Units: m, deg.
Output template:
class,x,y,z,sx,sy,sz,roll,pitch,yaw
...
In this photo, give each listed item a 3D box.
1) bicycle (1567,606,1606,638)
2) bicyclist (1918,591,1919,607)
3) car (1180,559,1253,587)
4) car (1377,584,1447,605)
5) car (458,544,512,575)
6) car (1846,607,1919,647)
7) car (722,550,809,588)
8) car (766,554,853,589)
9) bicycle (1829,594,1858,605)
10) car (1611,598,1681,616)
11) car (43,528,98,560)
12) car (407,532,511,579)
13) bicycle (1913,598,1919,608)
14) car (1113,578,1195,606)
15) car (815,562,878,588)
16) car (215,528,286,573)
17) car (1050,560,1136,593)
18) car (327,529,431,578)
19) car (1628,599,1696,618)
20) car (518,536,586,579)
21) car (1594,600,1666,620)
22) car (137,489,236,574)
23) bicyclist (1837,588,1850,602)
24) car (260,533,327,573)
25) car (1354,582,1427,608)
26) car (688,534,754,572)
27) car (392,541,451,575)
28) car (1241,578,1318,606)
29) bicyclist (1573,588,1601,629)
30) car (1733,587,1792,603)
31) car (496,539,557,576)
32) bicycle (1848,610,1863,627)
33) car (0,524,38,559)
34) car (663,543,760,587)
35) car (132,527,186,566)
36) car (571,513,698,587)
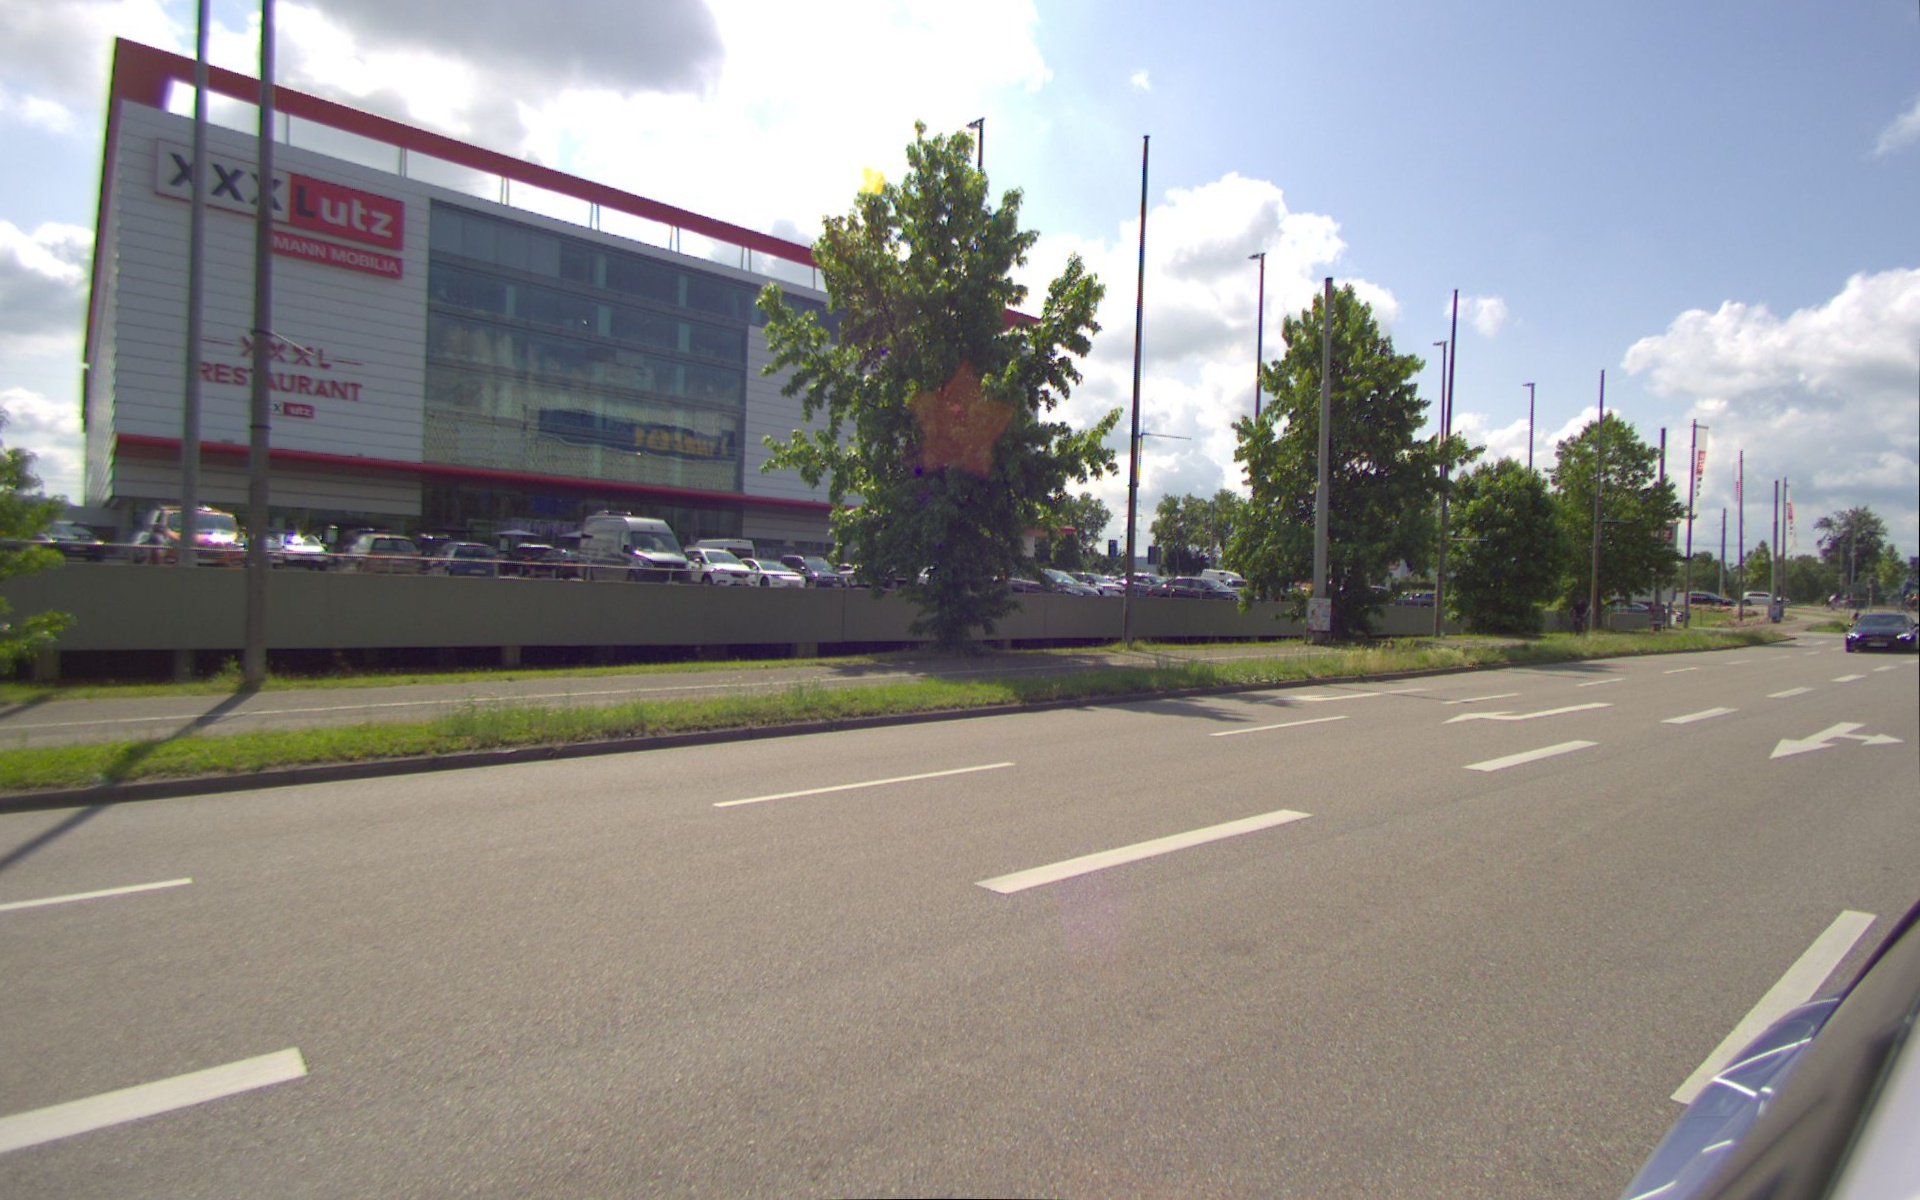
class,x,y,z,sx,sy,sz,roll,pitch,yaw
bicycle,22.200,0.775,35.835,1.934,1.081,0.624,1,1,-42
bicyclist,87.432,-0.069,91.694,0.728,1.494,0.652,0,0,-5
car,29.777,-3.136,117.719,3.066,3.193,7.899,0,2,-39
car,33.637,-0.424,75.375,1.814,1.379,4.368,0,2,-40
car,-23.511,-1.967,50.079,1.525,1.387,3.443,1,0,-41
car,33.016,0.921,35.878,4.088,1.335,1.796,0,0,-40
car,-8.336,-1.349,43.202,1.696,1.452,4.190,1,2,-42
car,-6.824,-1.232,45.684,1.860,1.452,4.188,1,-1,-42
bicycle,81.624,-0.002,93.533,1.958,0.973,0.594,1,0,15
car,55.104,0.529,81.294,1.825,1.434,4.365,0,0,-41
car,-38.181,-2.374,43.493,1.665,1.199,3.904,1,0,-40
car,-17.728,-1.506,35.717,1.954,1.502,4.872,0,1,-43
bicycle,87.412,0.280,91.687,1.662,0.973,0.666,1,0,-4
car,10.408,-0.462,54.584,1.659,1.341,4.191,1,2,-42
car,-6.639,-1.435,58.685,1.601,1.438,3.992,1,0,-42
car,-27.253,-1.853,38.844,1.608,1.595,3.899,1,0,-44
car,6.742,-1.175,51.501,1.967,1.590,3.990,0,1,-44
car,-19.503,-1.495,33.877,1.954,1.472,4.872,0,1,-43
car,58.979,0.682,85.077,1.765,1.458,4.366,0,1,-41
car,-19.063,-1.921,47.213,1.744,1.861,3.890,1,0,-41
car,51.747,0.766,78.239,1.824,1.495,4.367,0,0,-40
car,-23.151,-1.935,30.206,1.953,2.223,5.167,0,0,-42
bicyclist,81.658,-0.451,93.533,0.677,1.342,0.590,1,-1,14
car,-29.582,-2.038,44.866,1.965,1.563,3.994,1,0,-41
car,28.417,-0.346,66.822,4.056,1.550,1.714,4,3,45
car,-13.682,-2.663,57.827,1.965,1.976,3.993,1,0,-42
car,-25.632,-1.973,48.118,1.606,1.461,3.903,1,0,-41
car,19.687,-0.515,62.465,1.735,1.572,4.188,1,2,-43
bicyclist,22.196,0.293,35.827,0.702,1.430,0.616,1,0,-41
car,82.337,-0.520,103.875,1.981,1.430,4.485,0,2,-45
car,-22.101,-2.120,51.484,1.719,1.727,3.747,1,0,-42
bicycle,53.575,1.119,60.536,1.518,0.964,0.517,0,1,-43
car,-43.337,-2.652,46.269,1.680,1.438,3.900,1,0,-43
car,-9.139,-1.251,37.069,1.718,1.533,3.991,-1,1,-43
car,-32.853,-2.157,41.489,1.557,1.428,3.531,1,0,-41
car,-11.580,-1.672,35.742,2.027,2.396,5.664,0,1,-43
